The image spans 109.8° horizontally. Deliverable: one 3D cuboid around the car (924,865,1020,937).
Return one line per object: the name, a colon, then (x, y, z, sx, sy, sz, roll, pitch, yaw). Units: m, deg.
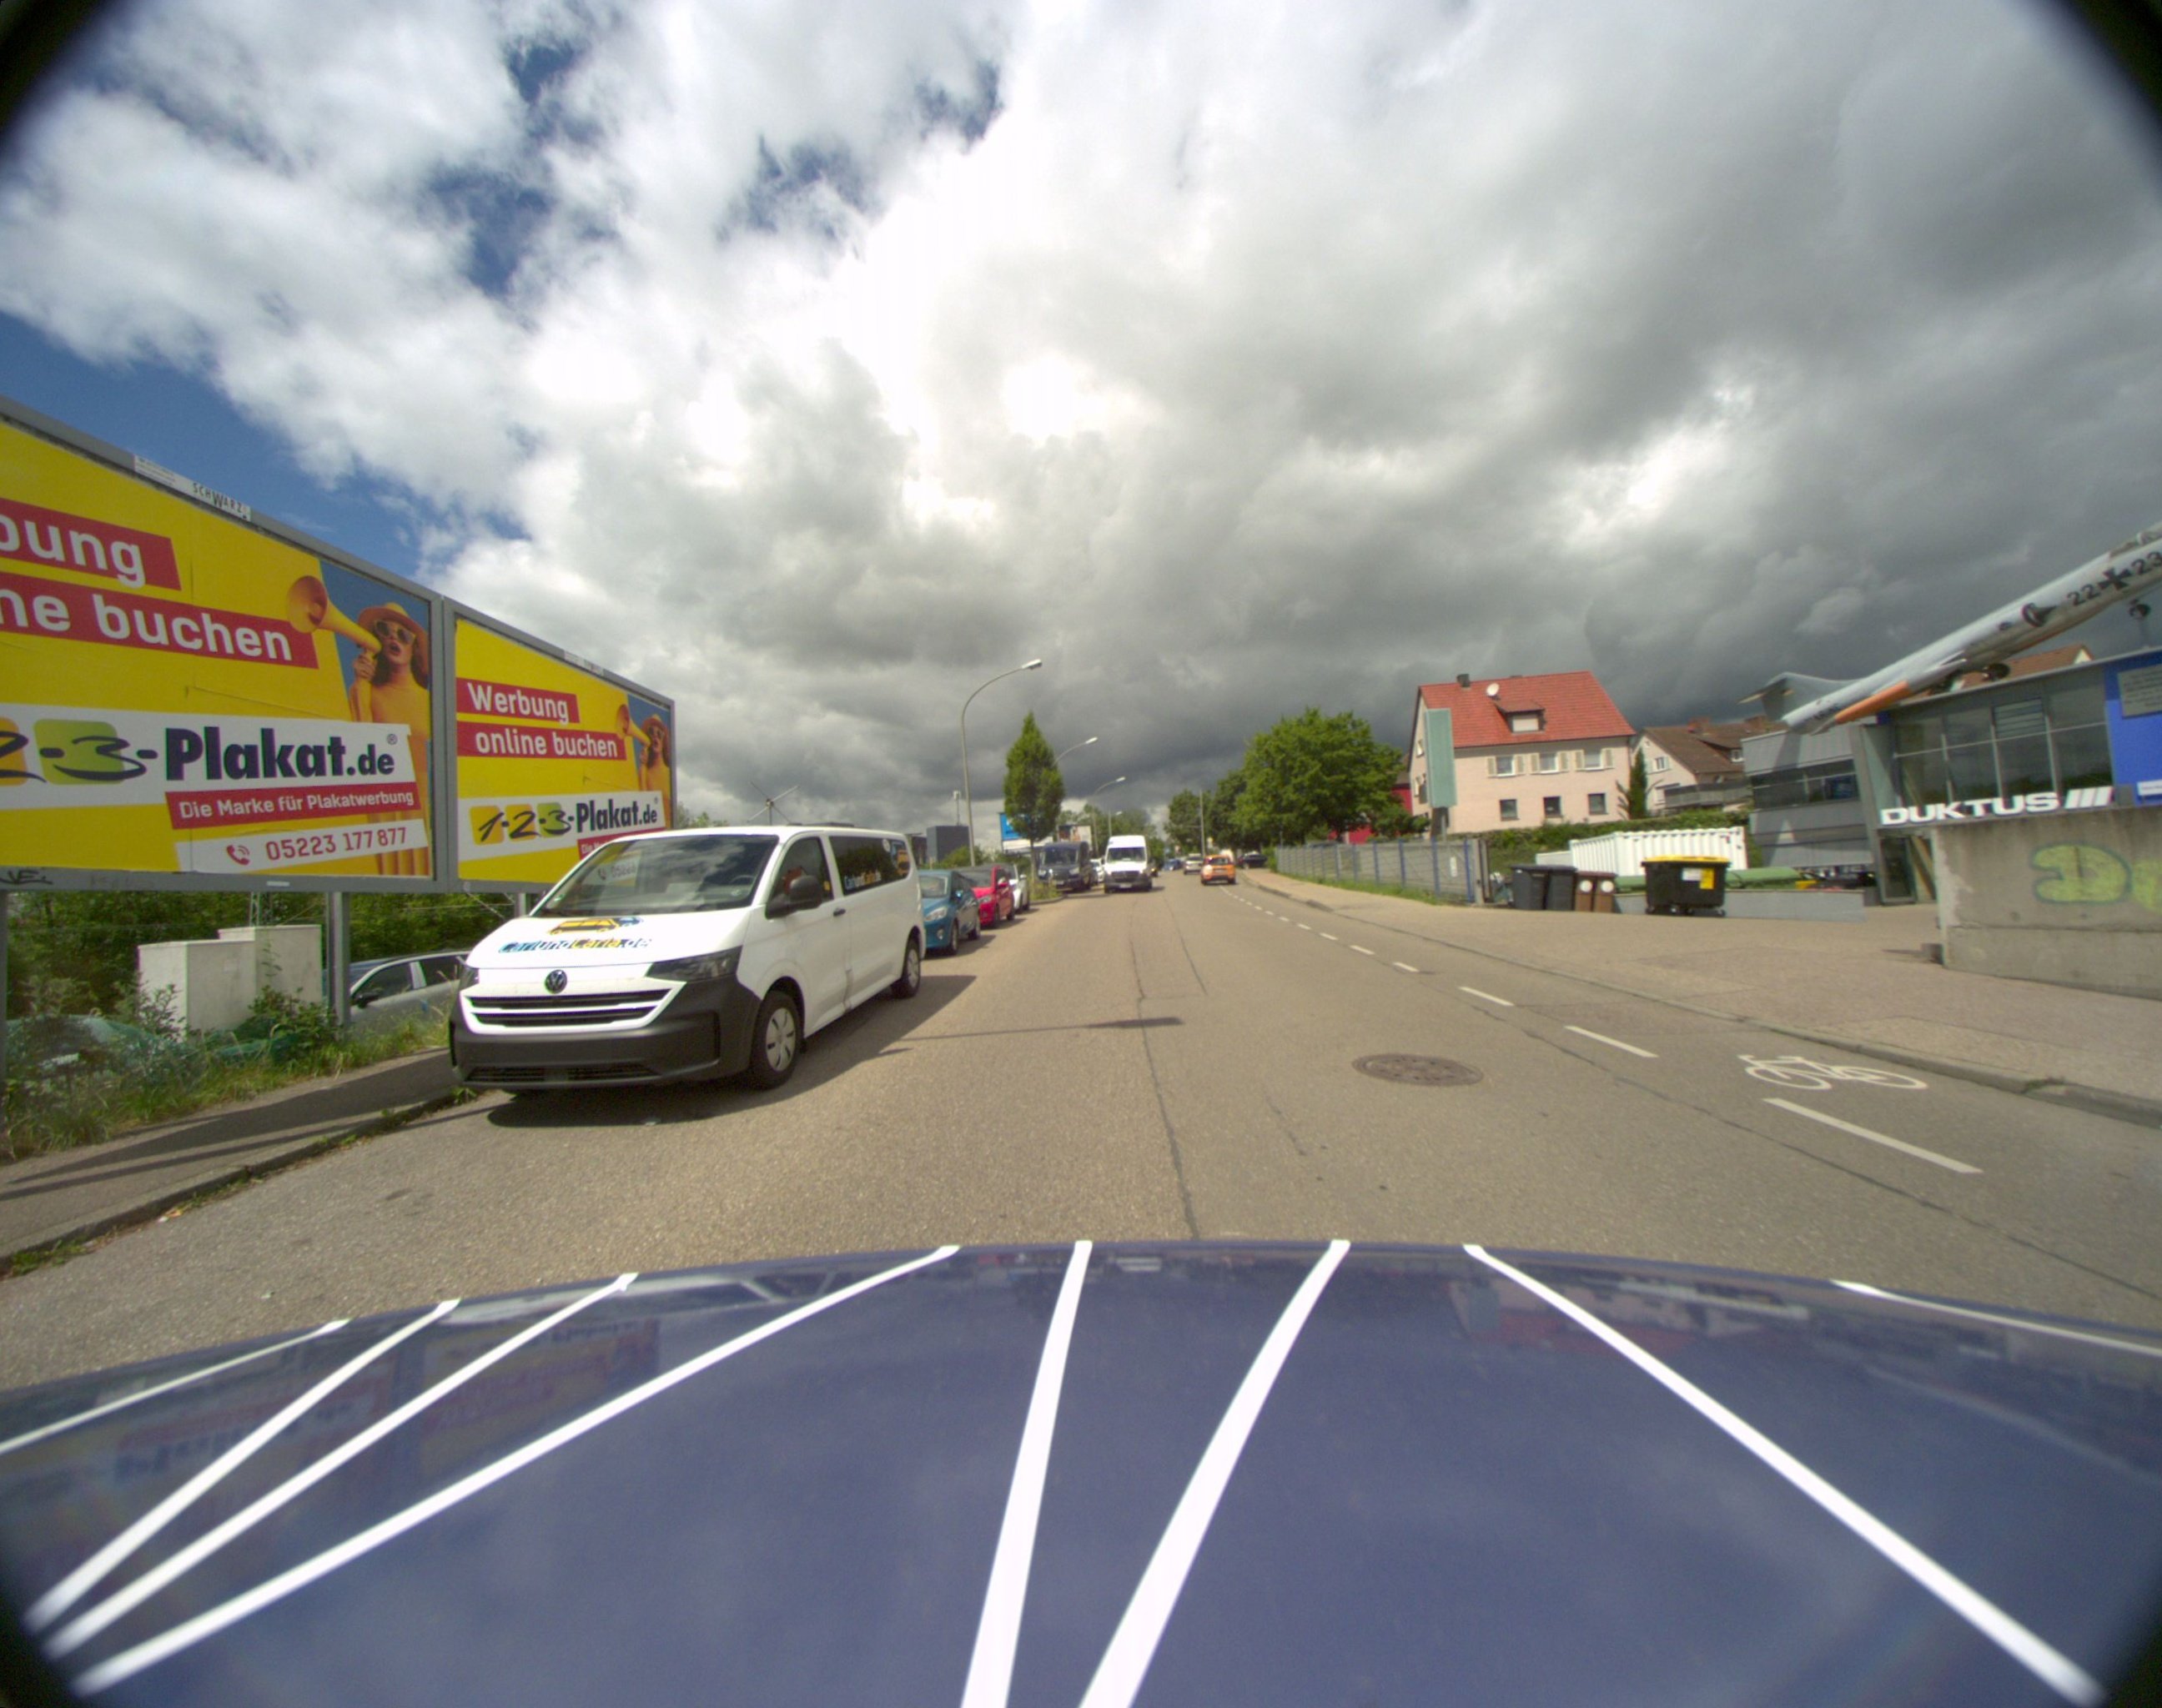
car: (-2.610, 1.093, 18.921, 1.596, 1.473, 3.501, -3, 0, 4)

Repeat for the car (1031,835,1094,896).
car: (-0.757, 0.467, 35.980, 2.058, 2.579, 5.737, -3, 0, 7)

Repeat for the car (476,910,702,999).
car: (-10.880, 2.162, 17.305, 1.820, 1.343, 4.557, -2, 0, 6)

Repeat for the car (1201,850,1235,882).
car: (7.164, 0.585, 39.530, 1.604, 1.482, 3.684, -3, 1, 11)

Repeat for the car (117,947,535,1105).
car: (-11.460, 2.519, 12.138, 1.820, 1.433, 4.557, -2, 0, 6)

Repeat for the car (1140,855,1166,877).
car: (5.341, 0.871, 56.643, 1.585, 1.497, 3.957, -3, 0, 2)

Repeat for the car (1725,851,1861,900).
car: (31.919, 0.974, 34.113, 4.621, 1.689, 1.926, -5, -3, -10)

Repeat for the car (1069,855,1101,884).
car: (0.264, 0.848, 42.653, 1.333, 1.446, 3.368, -3, 0, 7)

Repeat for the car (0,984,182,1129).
car: (-12.112, 2.279, 7.626, 1.575, 1.252, 3.712, -2, 0, 4)

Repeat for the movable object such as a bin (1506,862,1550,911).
movable object such as a bin: (9.977, 0.719, 16.974, 0.664, 1.074, 0.517, 1, 1, 3)

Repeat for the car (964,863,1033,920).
car: (-2.443, 1.079, 23.120, 1.596, 1.514, 2.858, -3, 0, 2)

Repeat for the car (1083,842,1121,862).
car: (3.028, -0.325, 107.120, 5.139, 2.576, 1.957, -3, 1, -35)

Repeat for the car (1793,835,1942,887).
car: (32.294, 0.297, 31.253, 4.622, 1.765, 1.859, -3, -3, -10)

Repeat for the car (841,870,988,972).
car: (-2.881, 1.110, 14.000, 1.596, 1.442, 3.980, -3, 0, 3)

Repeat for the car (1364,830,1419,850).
car: (26.144, -1.168, 64.092, 4.015, 1.497, 1.587, -3, 1, 9)

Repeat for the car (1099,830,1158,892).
car: (2.355, 0.261, 35.762, 2.081, 2.576, 6.066, -3, 1, 9)

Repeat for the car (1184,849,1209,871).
car: (8.992, 0.446, 59.443, 1.646, 1.523, 4.223, -3, 0, 5)

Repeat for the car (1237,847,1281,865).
car: (16.677, 0.198, 71.335, 3.854, 1.497, 1.587, -3, 1, 9)

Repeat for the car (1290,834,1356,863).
car: (16.292, -0.392, 51.257, 3.953, 1.766, 1.523, -3, 1, 3)

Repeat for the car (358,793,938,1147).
car: (-3.064, 0.677, 7.203, 1.979, 1.992, 5.548, -3, 0, 3)

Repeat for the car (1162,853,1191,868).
car: (14.685, 0.955, 116.717, 1.956, 1.958, 5.140, -2, 1, 38)

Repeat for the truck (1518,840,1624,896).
truck: (26.396, 0.670, 41.266, 2.320, 2.716, 6.597, -3, 1, 9)

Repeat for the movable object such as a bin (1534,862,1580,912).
movable object such as a bin: (10.584, 0.718, 16.909, 0.664, 1.074, 0.517, 1, 1, 3)

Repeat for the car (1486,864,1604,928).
car: (12.392, 1.065, 20.524, 1.433, 1.451, 3.364, -3, 1, 7)

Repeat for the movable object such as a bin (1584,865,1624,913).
movable object such as a bin: (11.649, 0.765, 16.923, 0.516, 1.039, 0.517, 1, 1, 3)

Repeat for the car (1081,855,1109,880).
car: (0.911, 0.847, 48.269, 1.401, 1.424, 3.446, -3, 0, 7)

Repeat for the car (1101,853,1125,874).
car: (2.625, 0.725, 60.855, 1.584, 1.497, 3.959, -3, 0, 7)

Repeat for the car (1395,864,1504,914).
car: (16.543, 1.552, 34.279, 3.995, 2.002, 1.852, -3, 1, 6)

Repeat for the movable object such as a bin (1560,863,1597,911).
movable object such as a bin: (11.143, 0.735, 17.027, 0.503, 1.054, 0.498, 1, 1, 3)

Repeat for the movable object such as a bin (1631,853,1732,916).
movable object such as a bin: (13.107, 0.635, 16.635, 1.223, 1.299, 1.232, 1, 1, 2)
